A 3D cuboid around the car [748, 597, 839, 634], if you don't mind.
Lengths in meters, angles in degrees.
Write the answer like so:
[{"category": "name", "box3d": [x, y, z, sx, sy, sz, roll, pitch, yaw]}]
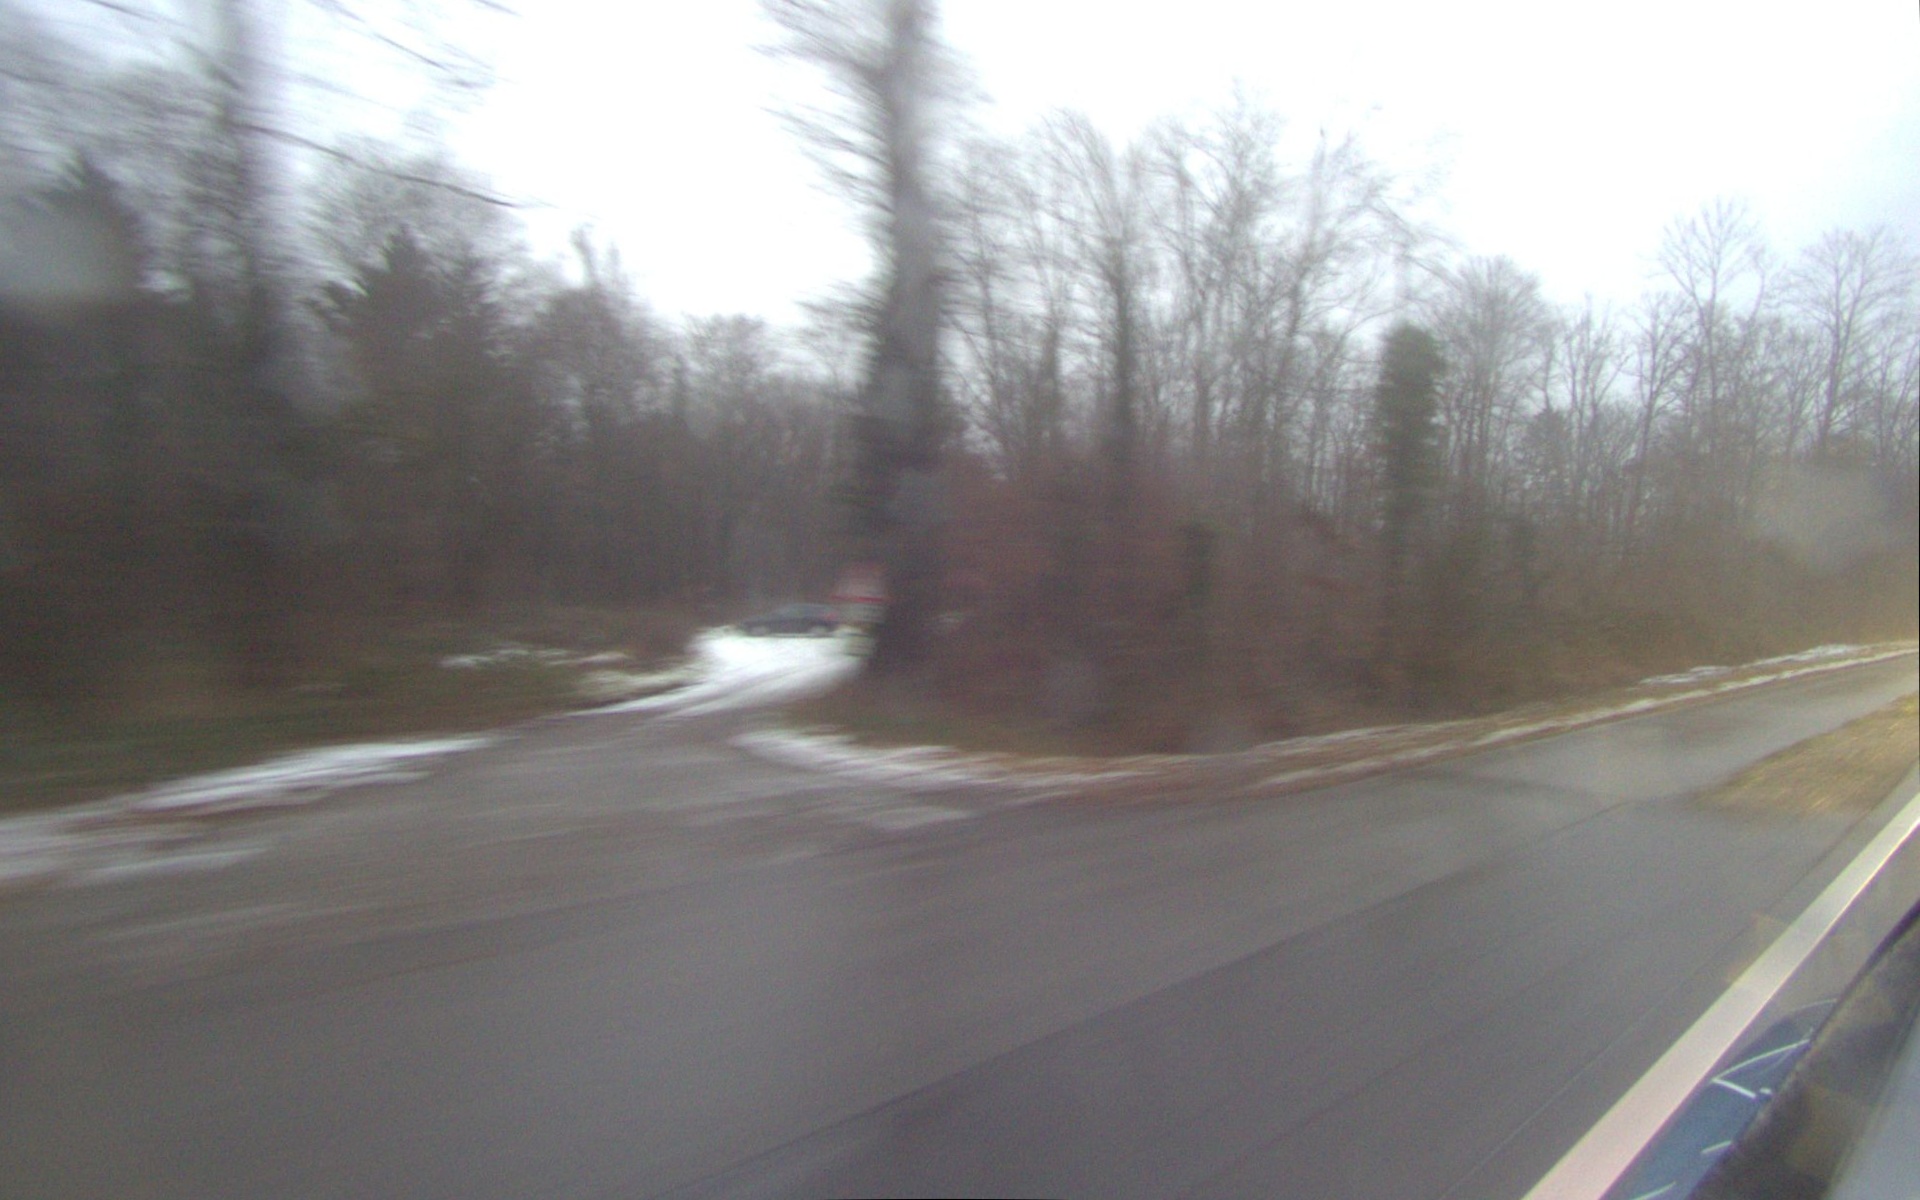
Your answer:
[{"category": "car", "box3d": [-7.240, 0.671, 44.177, 3.667, 1.514, 1.656, 1, 1, 2]}]
